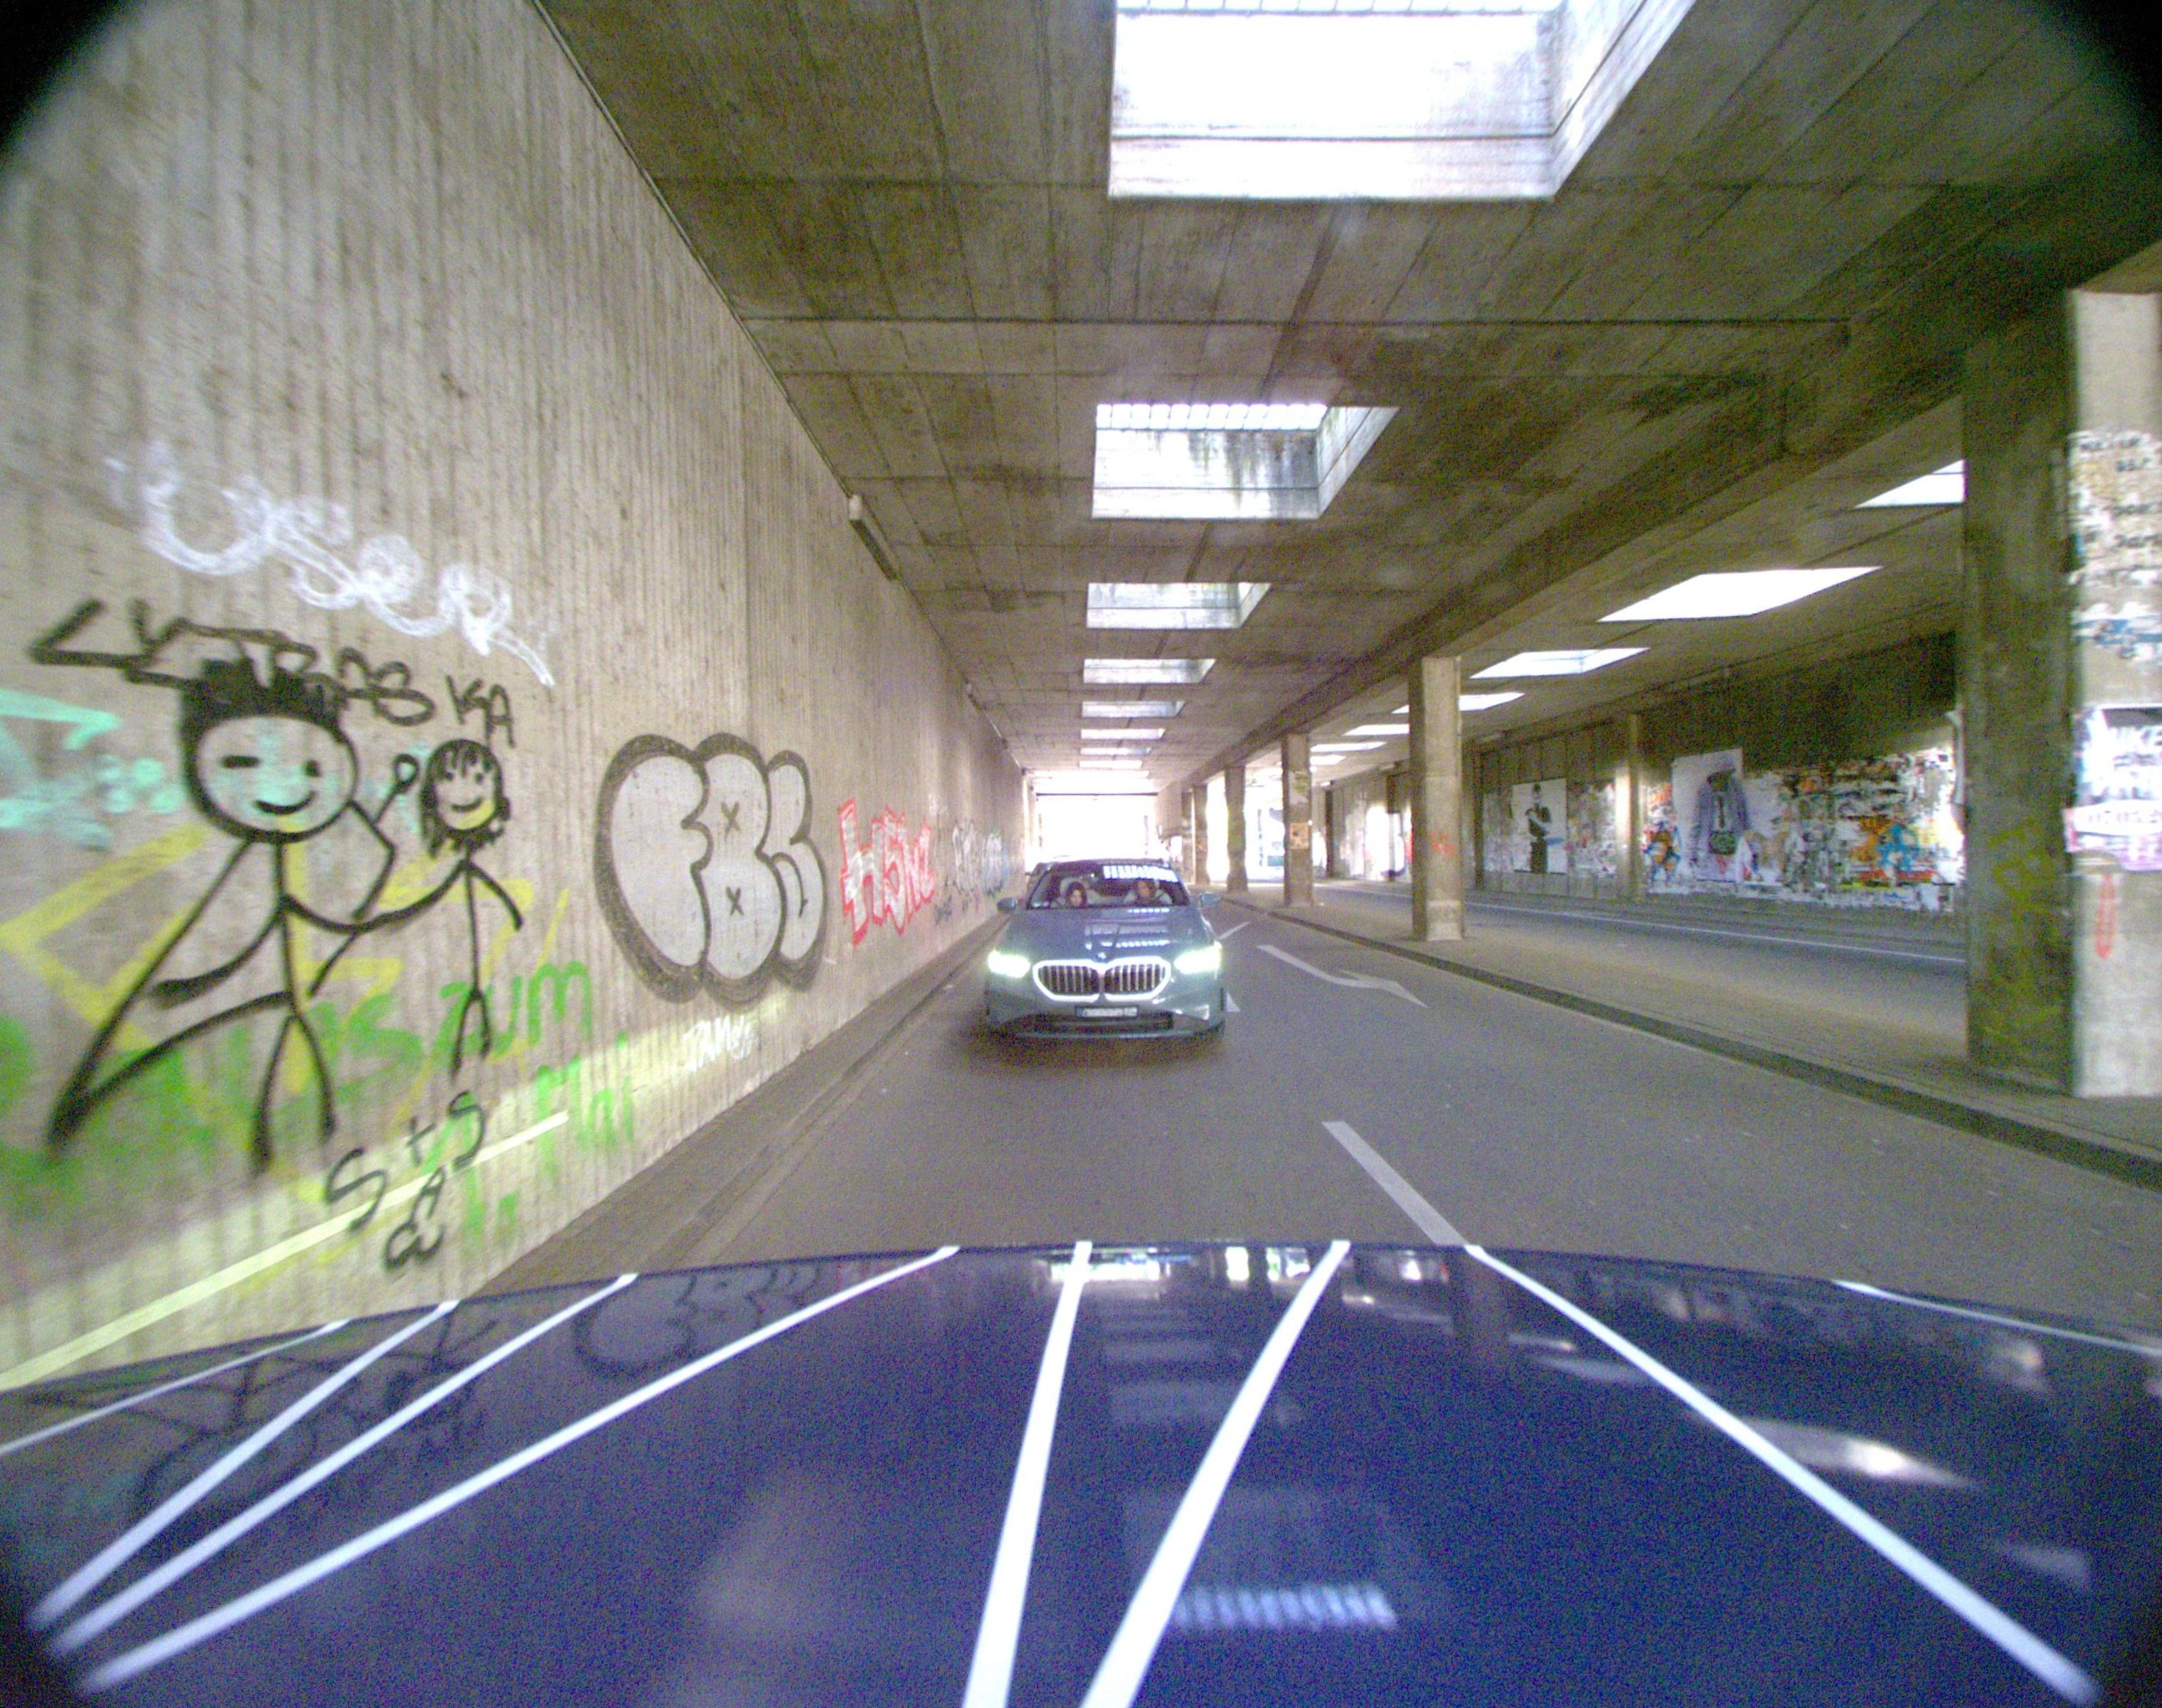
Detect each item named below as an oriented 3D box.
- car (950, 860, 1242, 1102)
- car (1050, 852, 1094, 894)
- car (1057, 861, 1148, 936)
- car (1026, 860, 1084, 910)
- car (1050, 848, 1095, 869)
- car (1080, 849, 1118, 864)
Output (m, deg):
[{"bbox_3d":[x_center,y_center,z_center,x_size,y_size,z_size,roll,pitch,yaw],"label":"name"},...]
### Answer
[{"bbox_3d":[0.136,0.888,7.688,1.957,1.546,5.040,-1,0,1],"label":"car"},{"bbox_3d":[-0.296,0.694,30.400,1.616,1.546,4.013,-1,0,1],"label":"car"},{"bbox_3d":[0.499,0.994,18.639,1.957,1.546,4.247,-1,0,1],"label":"car"},{"bbox_3d":[-0.753,0.926,24.225,1.616,1.367,4.199,-1,0,1],"label":"car"},{"bbox_3d":[-0.754,0.353,65.781,3.614,1.674,1.851,-2,1,-7],"label":"car"},{"bbox_3d":[1.743,0.213,73.142,3.454,1.339,1.567,-1,0,-5],"label":"car"}]
